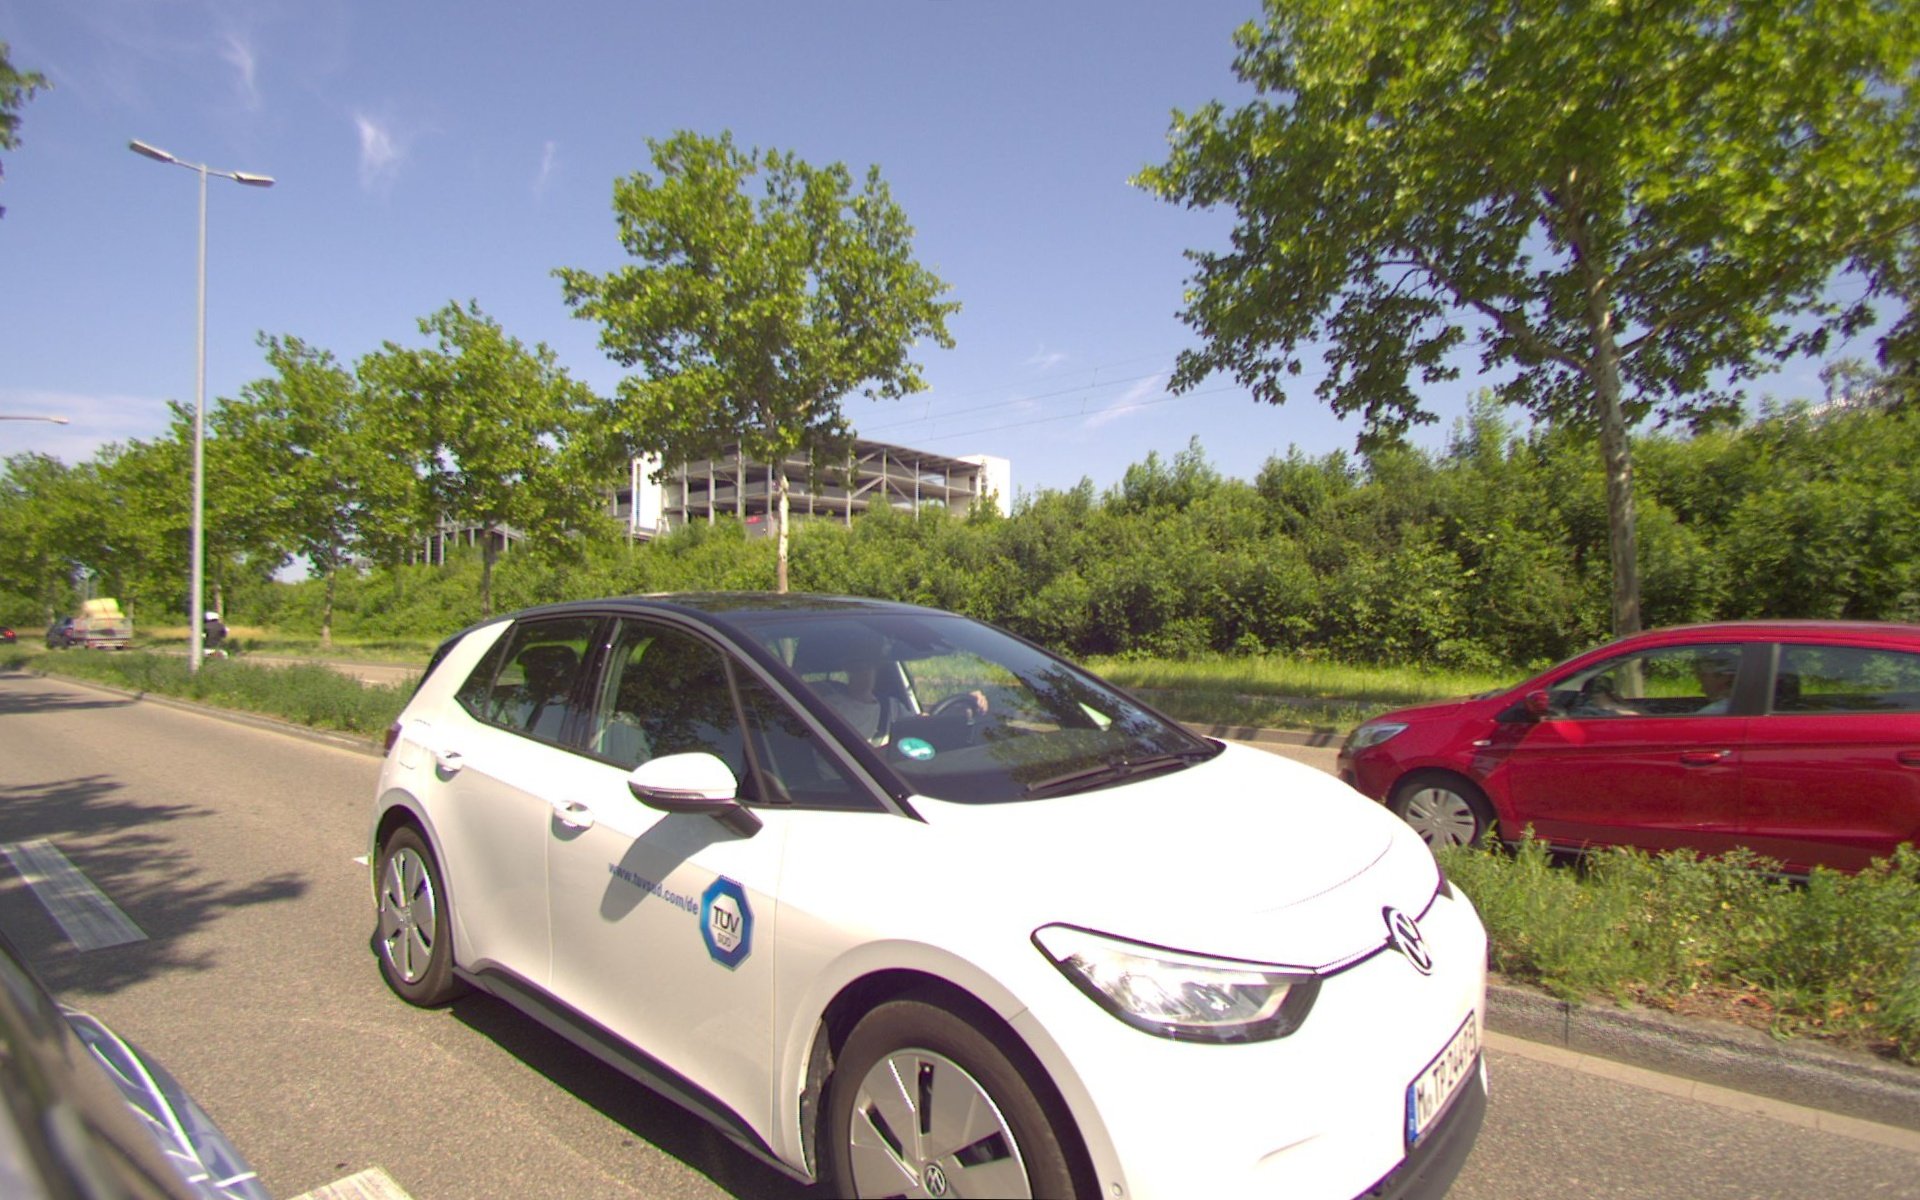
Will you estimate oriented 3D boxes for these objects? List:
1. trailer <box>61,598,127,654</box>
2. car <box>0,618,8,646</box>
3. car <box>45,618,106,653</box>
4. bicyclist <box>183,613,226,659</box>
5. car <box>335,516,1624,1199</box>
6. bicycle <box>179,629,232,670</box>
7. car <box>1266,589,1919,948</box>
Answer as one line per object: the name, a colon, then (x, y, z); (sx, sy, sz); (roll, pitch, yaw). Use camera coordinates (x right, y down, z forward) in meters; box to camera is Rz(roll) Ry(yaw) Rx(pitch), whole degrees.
trailer: (-45.345, 1.320, 52.954); (4.824, 2.764, 1.861); (-1, 0, 40)
car: (-53.162, 1.728, 55.019); (3.786, 1.483, 1.587); (-1, -1, 39)
car: (-48.867, 1.934, 55.899); (5.371, 1.803, 1.746); (-1, 0, 40)
bicyclist: (-20.403, 0.947, 27.335); (1.101, 1.199, 0.720); (-1, 0, 42)
car: (-0.398, 0.693, 3.423); (4.207, 1.533, 1.800); (-1, -1, 42)
bicycle: (-20.335, 1.310, 27.265); (2.216, 1.037, 0.720); (-1, 0, 42)
car: (4.139, 0.769, 5.836); (4.173, 1.595, 1.835); (-1, -1, 41)
